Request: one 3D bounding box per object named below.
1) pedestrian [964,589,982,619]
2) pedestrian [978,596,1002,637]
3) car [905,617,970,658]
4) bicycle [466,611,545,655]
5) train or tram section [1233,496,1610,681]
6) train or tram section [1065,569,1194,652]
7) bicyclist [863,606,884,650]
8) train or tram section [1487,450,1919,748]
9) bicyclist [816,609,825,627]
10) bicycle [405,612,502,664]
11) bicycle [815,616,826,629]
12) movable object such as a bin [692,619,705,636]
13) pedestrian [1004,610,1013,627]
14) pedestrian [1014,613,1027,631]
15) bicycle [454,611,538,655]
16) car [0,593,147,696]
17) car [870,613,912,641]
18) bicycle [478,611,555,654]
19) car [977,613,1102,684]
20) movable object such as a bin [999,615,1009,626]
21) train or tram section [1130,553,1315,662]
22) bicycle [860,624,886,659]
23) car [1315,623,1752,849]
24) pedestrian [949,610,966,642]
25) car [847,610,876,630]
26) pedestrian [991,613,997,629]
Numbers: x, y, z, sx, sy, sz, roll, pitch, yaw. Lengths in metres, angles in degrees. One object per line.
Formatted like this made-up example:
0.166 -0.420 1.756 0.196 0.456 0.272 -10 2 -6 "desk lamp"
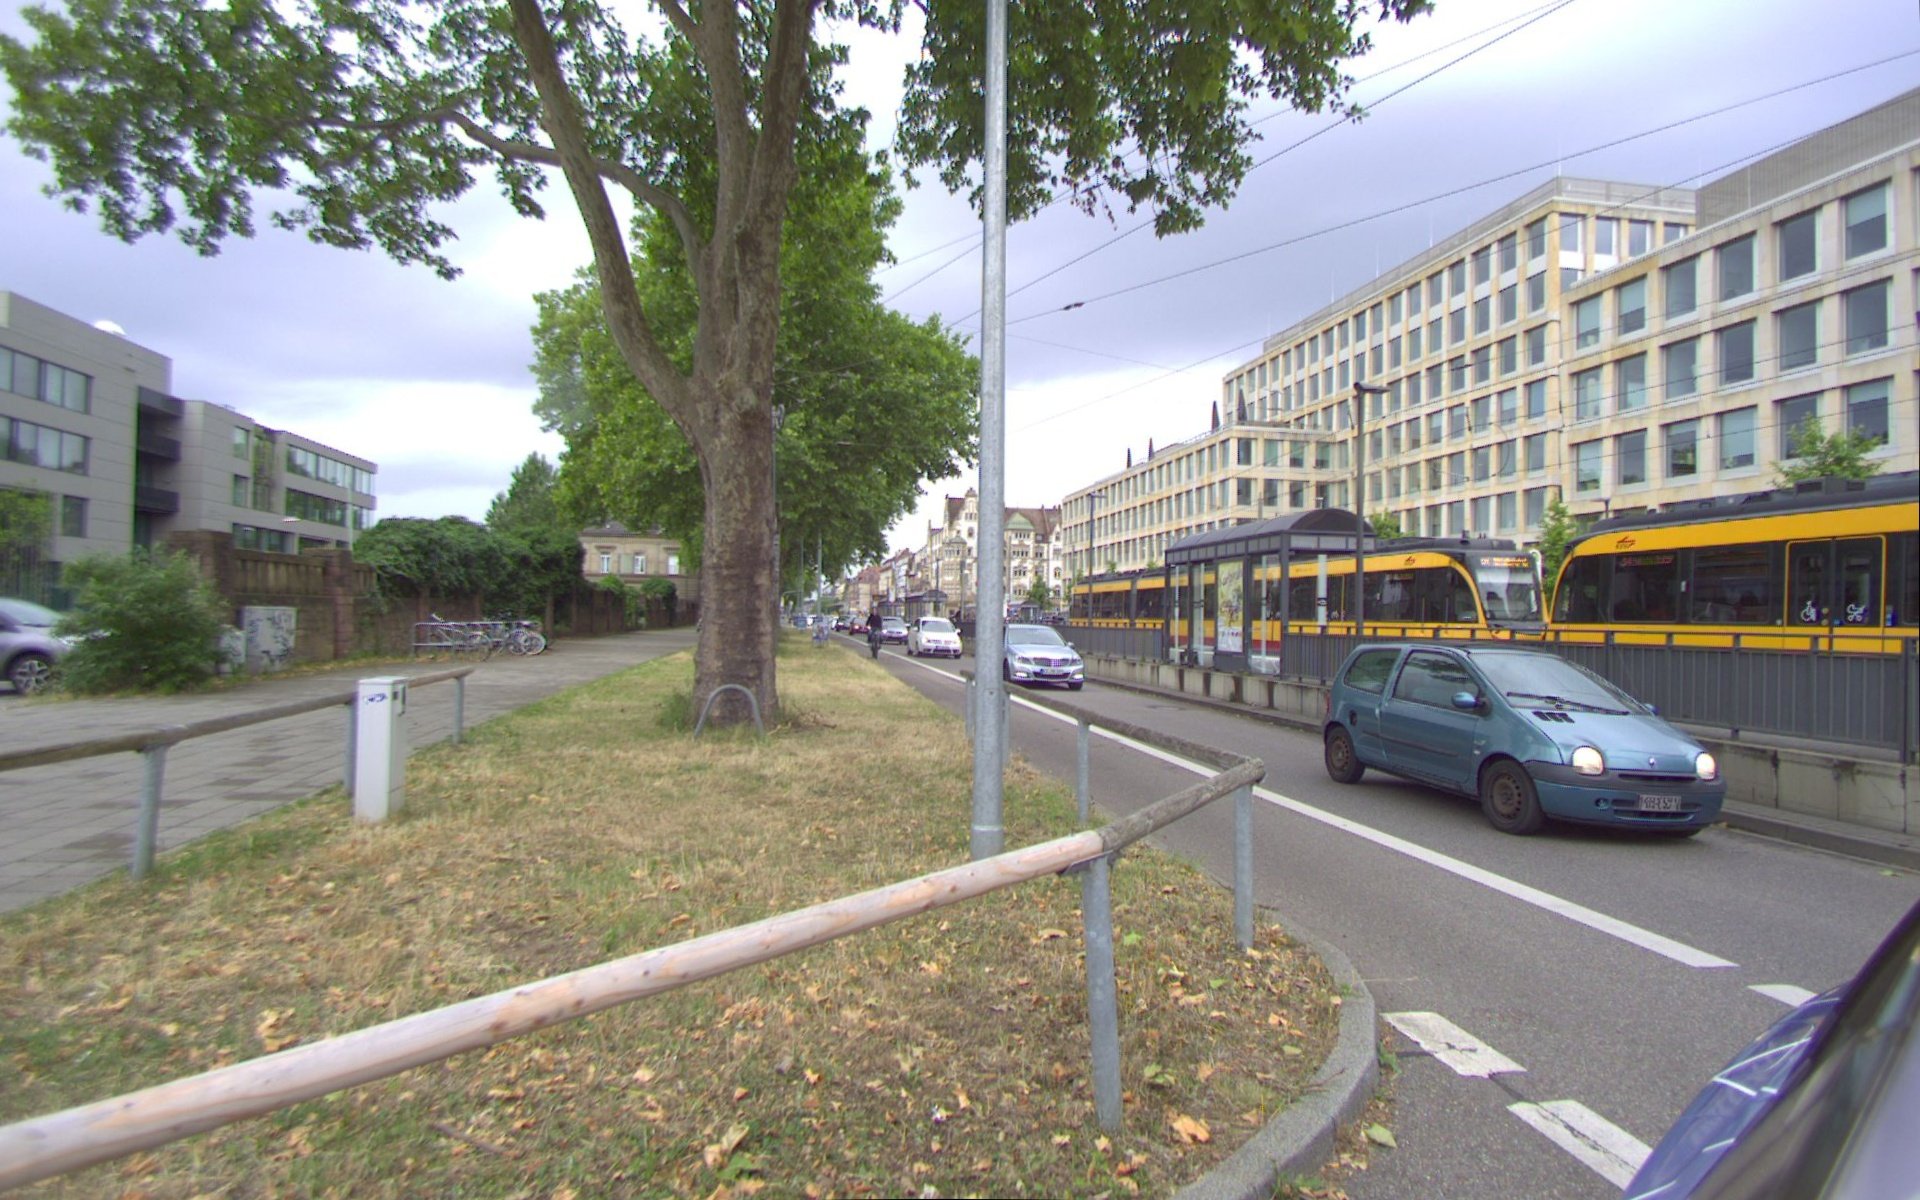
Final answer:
0.770 0.241 60.683 0.658 1.816 1.115 1 -1 -23 "pedestrian"
1.487 0.819 50.316 1.040 2.039 0.841 1 -1 -9 "pedestrian"
-0.942 1.440 39.953 1.959 1.470 4.106 1 -1 -10 "car"
-12.558 0.906 27.987 1.867 1.111 0.551 3 -1 -11 "bicycle"
12.595 -0.216 30.276 3.125 4.232 13.641 1 -1 -9 "train or tram section"
8.637 0.527 53.657 3.181 3.911 11.328 1 -1 -9 "train or tram section"
-3.076 0.987 36.014 0.629 1.550 0.666 1 -1 -11 "bicyclist"
14.916 0.019 16.275 3.125 4.232 14.756 1 0 -9 "train or tram section"
-13.146 1.706 95.323 0.796 1.621 1.192 1 -1 -11 "bicyclist"
-11.722 0.882 23.476 1.888 1.105 0.551 3 -1 -11 "bicycle"
-13.155 2.121 95.331 0.798 1.184 2.281 1 -1 -12 "bicycle"
-17.101 1.802 66.191 0.601 1.126 1.015 1 -2 -4 "movable object such as a bin"
4.723 1.840 99.390 0.569 1.628 0.656 2 -1 -42 "pedestrian"
5.757 2.101 96.498 1.020 1.708 0.940 1 -1 -6 "pedestrian"
-12.508 0.892 27.347 1.940 1.109 0.551 3 -1 -11 "bicycle"
-15.873 0.692 16.476 3.700 1.599 1.753 0 -1 -11 "car"
-3.971 1.493 57.669 1.959 1.470 4.106 1 -1 -10 "car"
-12.523 0.920 28.606 1.856 1.119 0.551 3 -1 -11 "bicycle"
1.745 1.069 23.743 1.959 1.470 4.106 1 -1 -10 "car"
4.271 2.026 98.982 0.610 1.034 0.721 2 -1 -42 "movable object such as a bin"
10.517 0.296 42.429 3.108 3.911 11.328 1 -1 -9 "train or tram section"
-3.112 1.453 36.088 0.641 1.164 2.287 1 -1 -12 "bicycle"
4.626 1.002 8.750 1.504 1.491 3.358 2 -1 -9 "car"
-0.135 1.527 59.231 0.658 1.816 1.115 1 -1 -18 "pedestrian"
-7.886 1.594 80.703 1.959 1.470 4.106 1 -1 -10 "car"
3.346 2.074 100.248 0.526 1.628 0.565 1 -1 -3 "pedestrian"
